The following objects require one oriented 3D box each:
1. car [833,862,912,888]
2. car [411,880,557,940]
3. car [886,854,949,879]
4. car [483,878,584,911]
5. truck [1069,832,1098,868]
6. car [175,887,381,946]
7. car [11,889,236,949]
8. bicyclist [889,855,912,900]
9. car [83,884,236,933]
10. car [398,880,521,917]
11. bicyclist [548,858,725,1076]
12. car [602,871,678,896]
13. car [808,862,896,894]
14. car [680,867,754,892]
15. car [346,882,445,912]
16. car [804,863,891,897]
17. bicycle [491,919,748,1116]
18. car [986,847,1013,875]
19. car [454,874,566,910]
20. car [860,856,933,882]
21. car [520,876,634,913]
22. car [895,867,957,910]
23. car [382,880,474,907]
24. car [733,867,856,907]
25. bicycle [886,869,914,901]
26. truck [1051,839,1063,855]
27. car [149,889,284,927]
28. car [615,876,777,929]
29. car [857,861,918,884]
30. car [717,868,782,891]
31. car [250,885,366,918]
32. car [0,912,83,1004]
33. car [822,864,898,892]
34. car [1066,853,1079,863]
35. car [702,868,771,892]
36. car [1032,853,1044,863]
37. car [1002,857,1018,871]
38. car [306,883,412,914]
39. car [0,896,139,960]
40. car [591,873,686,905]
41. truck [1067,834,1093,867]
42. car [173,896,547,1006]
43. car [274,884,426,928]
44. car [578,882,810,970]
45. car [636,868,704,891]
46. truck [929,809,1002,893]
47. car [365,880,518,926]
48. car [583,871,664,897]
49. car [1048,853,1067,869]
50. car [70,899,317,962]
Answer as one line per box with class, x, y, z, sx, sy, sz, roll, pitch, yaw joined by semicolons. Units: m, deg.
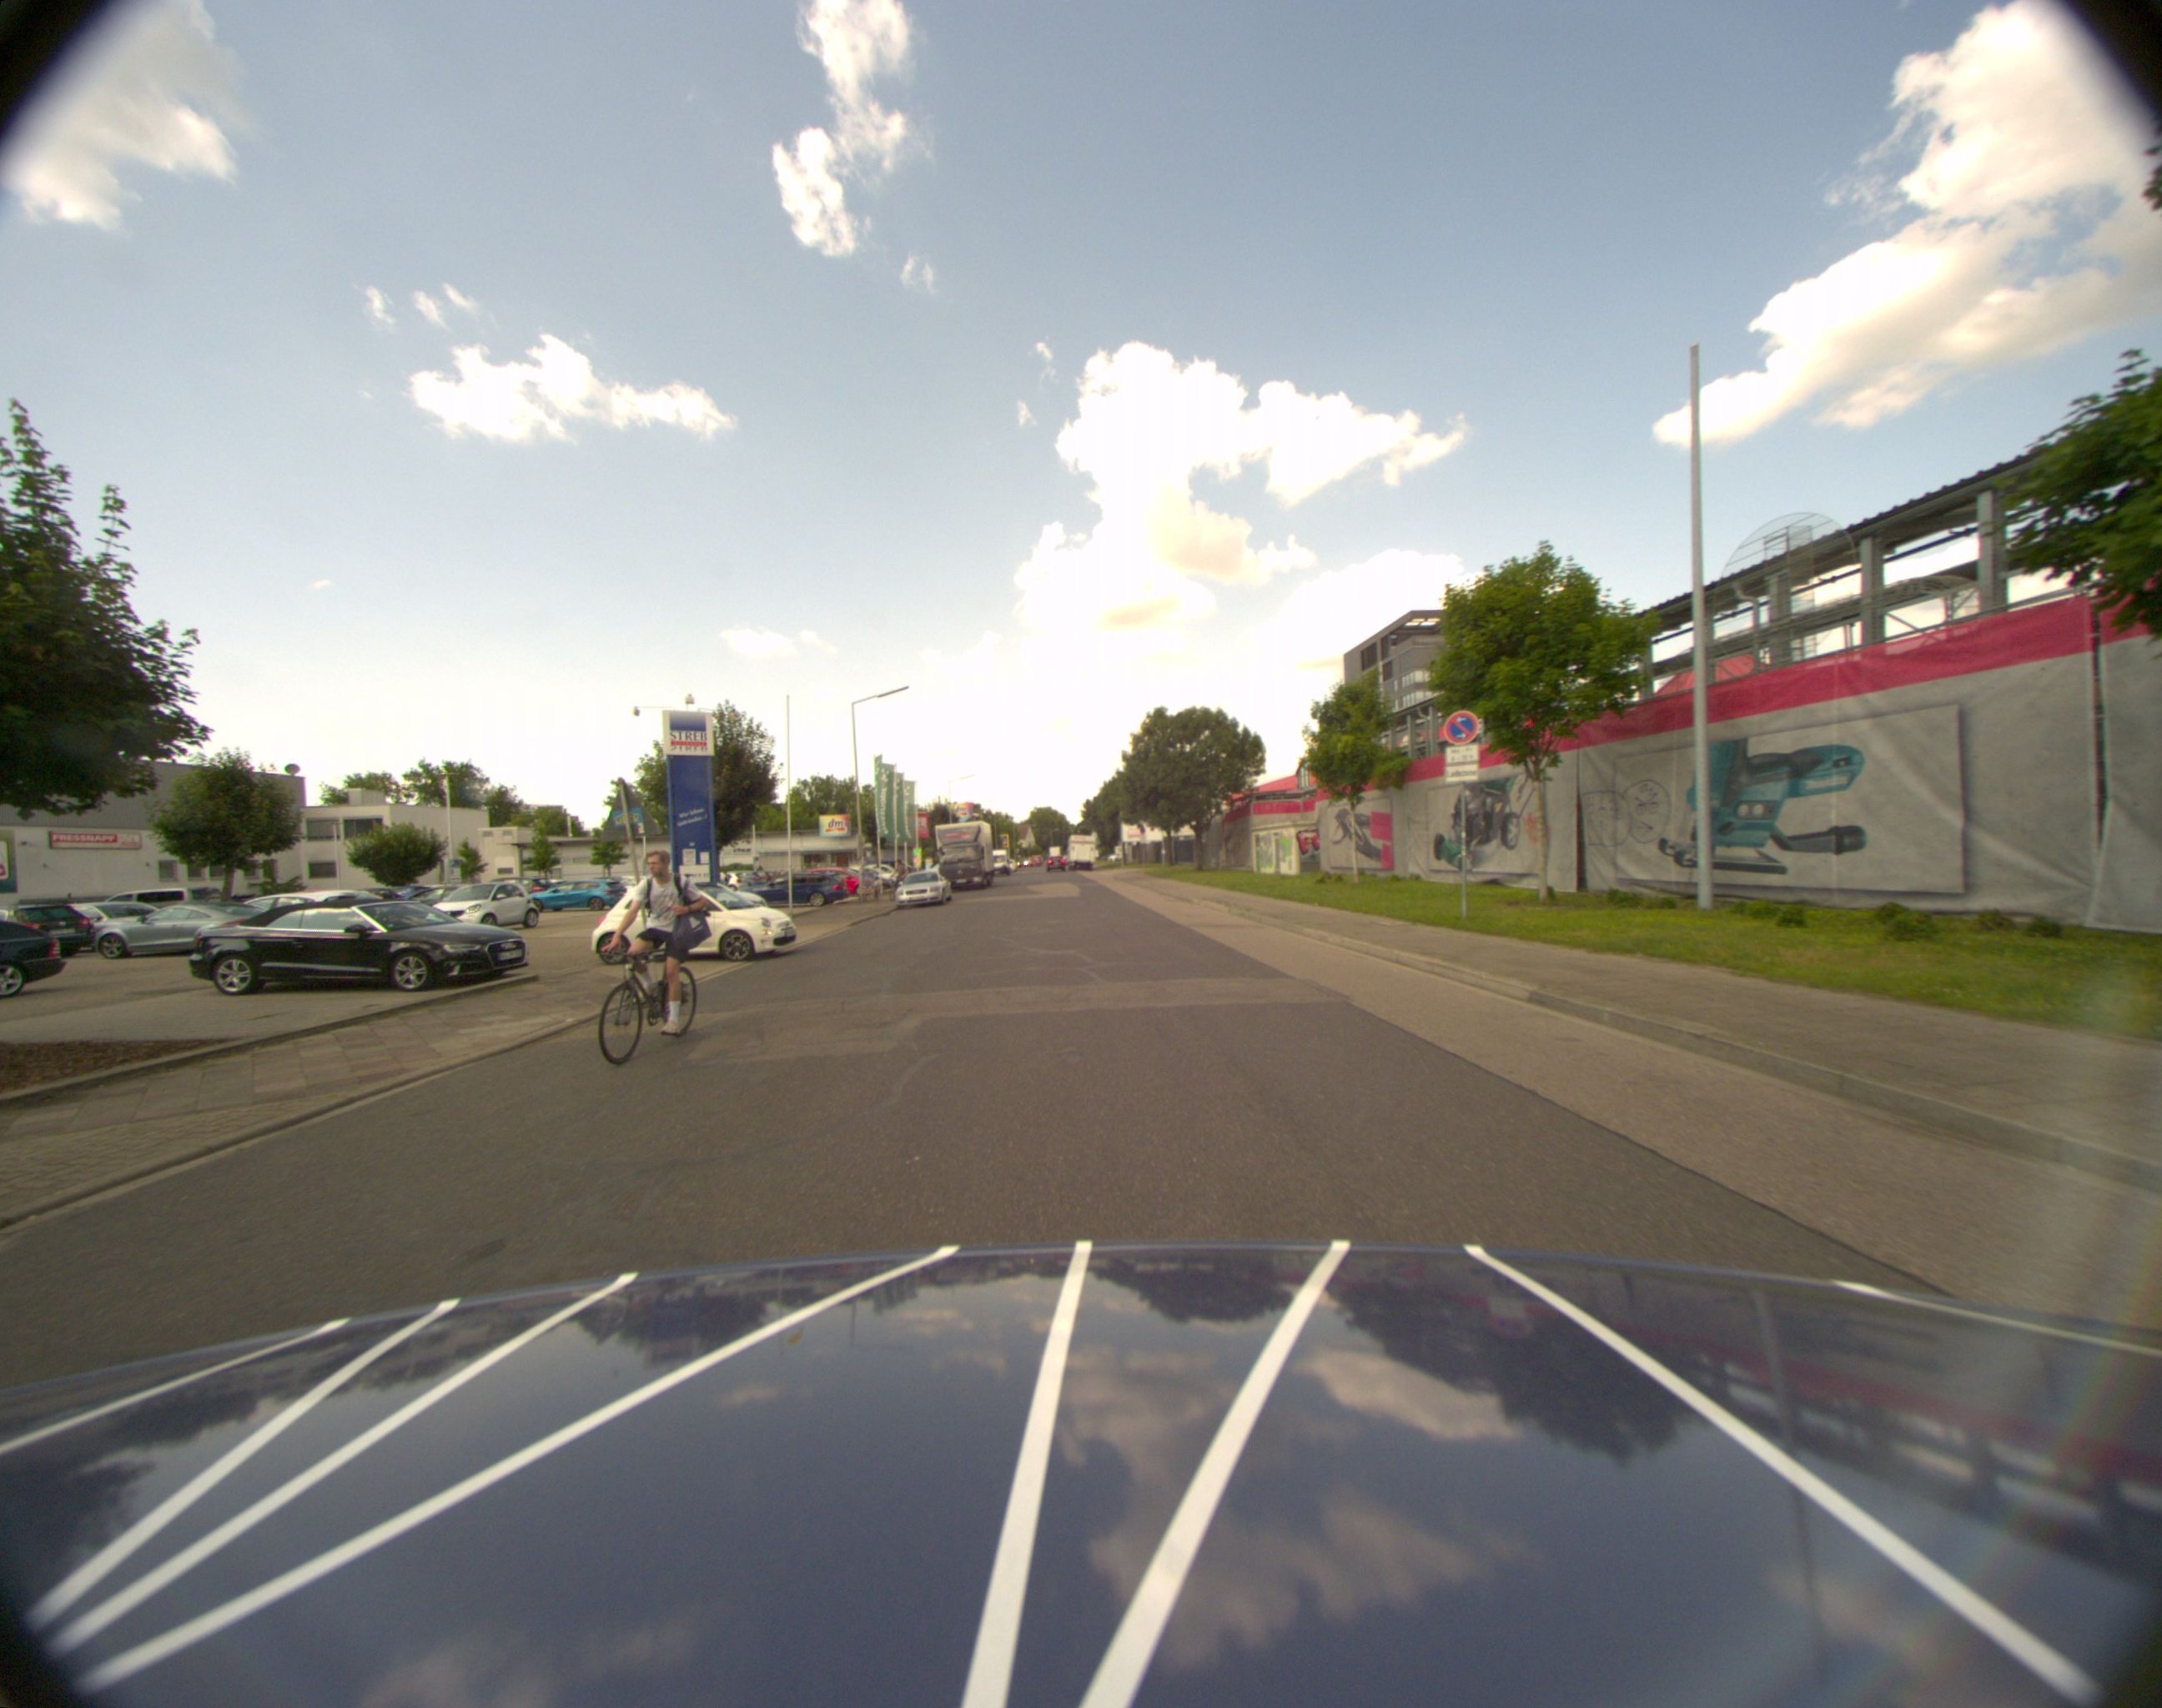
car;-13.179;1.323;48.270;4.494;1.429;1.858;-2;0;-3
car;-18.501;1.679;23.786;1.724;1.510;3.751;-3;0;-5
car;-13.073;0.987;60.784;4.589;1.674;1.745;-4;1;-1
car;-28.873;2.114;40.130;3.947;1.475;1.724;-2;0;-5
truck;0.165;-0.476;83.058;2.755;3.701;7.168;-1;1;-3
car;-23.822;1.830;22.677;4.070;1.475;1.724;-2;0;-5
car;-28.192;1.892;22.494;4.130;1.475;1.724;-2;0;-5
bicyclist;-7.829;1.022;32.998;0.796;1.899;0.828;1;1;0
car;-39.015;2.285;32.263;4.077;1.790;1.724;-2;0;-5
car;-28.375;2.019;34.798;4.031;1.475;1.724;-2;0;-5
bicyclist;-4.072;0.967;7.089;0.809;1.782;1.206;-5;1;-3
car;-29.003;1.912;50.039;3.947;1.475;1.724;-2;0;-5
car;-12.286;1.269;40.987;4.299;1.533;1.748;-2;0;-8
car;-23.935;1.654;50.047;3.947;1.475;1.724;-2;0;-5
car;-40.067;2.503;44.500;4.017;1.475;1.724;-2;0;-5
car;-11.735;1.309;38.362;3.896;1.513;1.748;-2;0;-8
bicycle;-4.047;1.347;7.044;0.800;1.173;2.625;-4;1;-3
car;-7.658;0.599;71.818;2.057;2.395;5.452;-5;0;-3
car;-28.077;1.845;37.455;4.069;1.568;1.739;-2;0;-5
car;-13.541;1.092;56.093;4.907;1.777;1.902;-2;0;-3
car;-23.244;1.856;35.175;3.993;1.475;1.740;-2;0;-5
car;-6.000;1.308;29.802;1.666;1.332;3.984;-6;0;-3
car;-40.371;2.423;47.032;4.026;1.475;1.724;-2;0;-5
car;-11.589;1.320;30.966;4.320;1.435;1.846;-2;0;-4
bicycle;-7.828;1.341;32.955;0.794;1.287;1.882;1;1;-1
truck;-6.460;-1.785;202.931;2.980;4.132;9.664;-3;0;-3
car;-39.464;2.446;34.770;3.933;1.475;1.724;-2;0;-5
car;-11.579;1.436;23.087;3.964;1.402;1.796;-1;0;-5
car;-13.575;1.271;53.337;3.821;1.490;1.653;-2;0;-1
car;-24.053;1.811;55.255;3.947;1.475;1.724;-2;0;-5
car;-40.194;2.441;39.598;4.042;1.475;1.724;-2;0;-5
car;-18.629;1.855;11.362;1.686;1.403;4.384;-3;2;-4
car;-12.598;1.336;43.508;3.896;1.424;1.748;-2;0;-8
car;-1.414;0.621;122.699;1.983;1.565;3.999;-3;0;-3
car;-23.710;1.781;52.394;3.947;1.475;1.724;-2;0;-5
car;-7.051;0.671;123.955;1.857;1.467;3.999;-3;0;-3
car;-8.353;1.181;89.642;1.699;1.448;3.548;-5;0;-3
car;-40.053;2.432;42.206;4.035;1.475;1.724;-2;0;-5
car;-27.941;1.944;19.911;4.053;1.475;1.724;-2;0;-5
car;-23.428;1.821;40.323;3.947;1.475;1.724;-2;0;-5
truck;-0.140;-0.365;91.603;2.755;3.787;7.169;-1;0;-3
car;-11.371;1.492;12.227;4.191;1.422;1.806;-1;0;-1
car;-28.503;2.002;29.731;4.021;1.475;1.724;-2;0;-5
car;-7.415;1.362;14.798;3.609;1.461;1.689;-1;1;1
car;-29.804;1.817;55.206;3.947;1.475;1.724;-2;0;-5
truck;-6.381;-0.182;43.274;2.786;4.092;8.276;-5;1;-2
car;-23.562;1.777;28.108;4.006;1.475;1.724;-2;0;-5
car;-28.687;1.863;47.685;3.947;1.475;1.724;-2;0;-5
car;-2.471;0.669;78.513;1.879;1.610;4.292;0;0;-2
car;-23.197;1.975;20.015;4.116;1.330;1.793;-2;0;-5
